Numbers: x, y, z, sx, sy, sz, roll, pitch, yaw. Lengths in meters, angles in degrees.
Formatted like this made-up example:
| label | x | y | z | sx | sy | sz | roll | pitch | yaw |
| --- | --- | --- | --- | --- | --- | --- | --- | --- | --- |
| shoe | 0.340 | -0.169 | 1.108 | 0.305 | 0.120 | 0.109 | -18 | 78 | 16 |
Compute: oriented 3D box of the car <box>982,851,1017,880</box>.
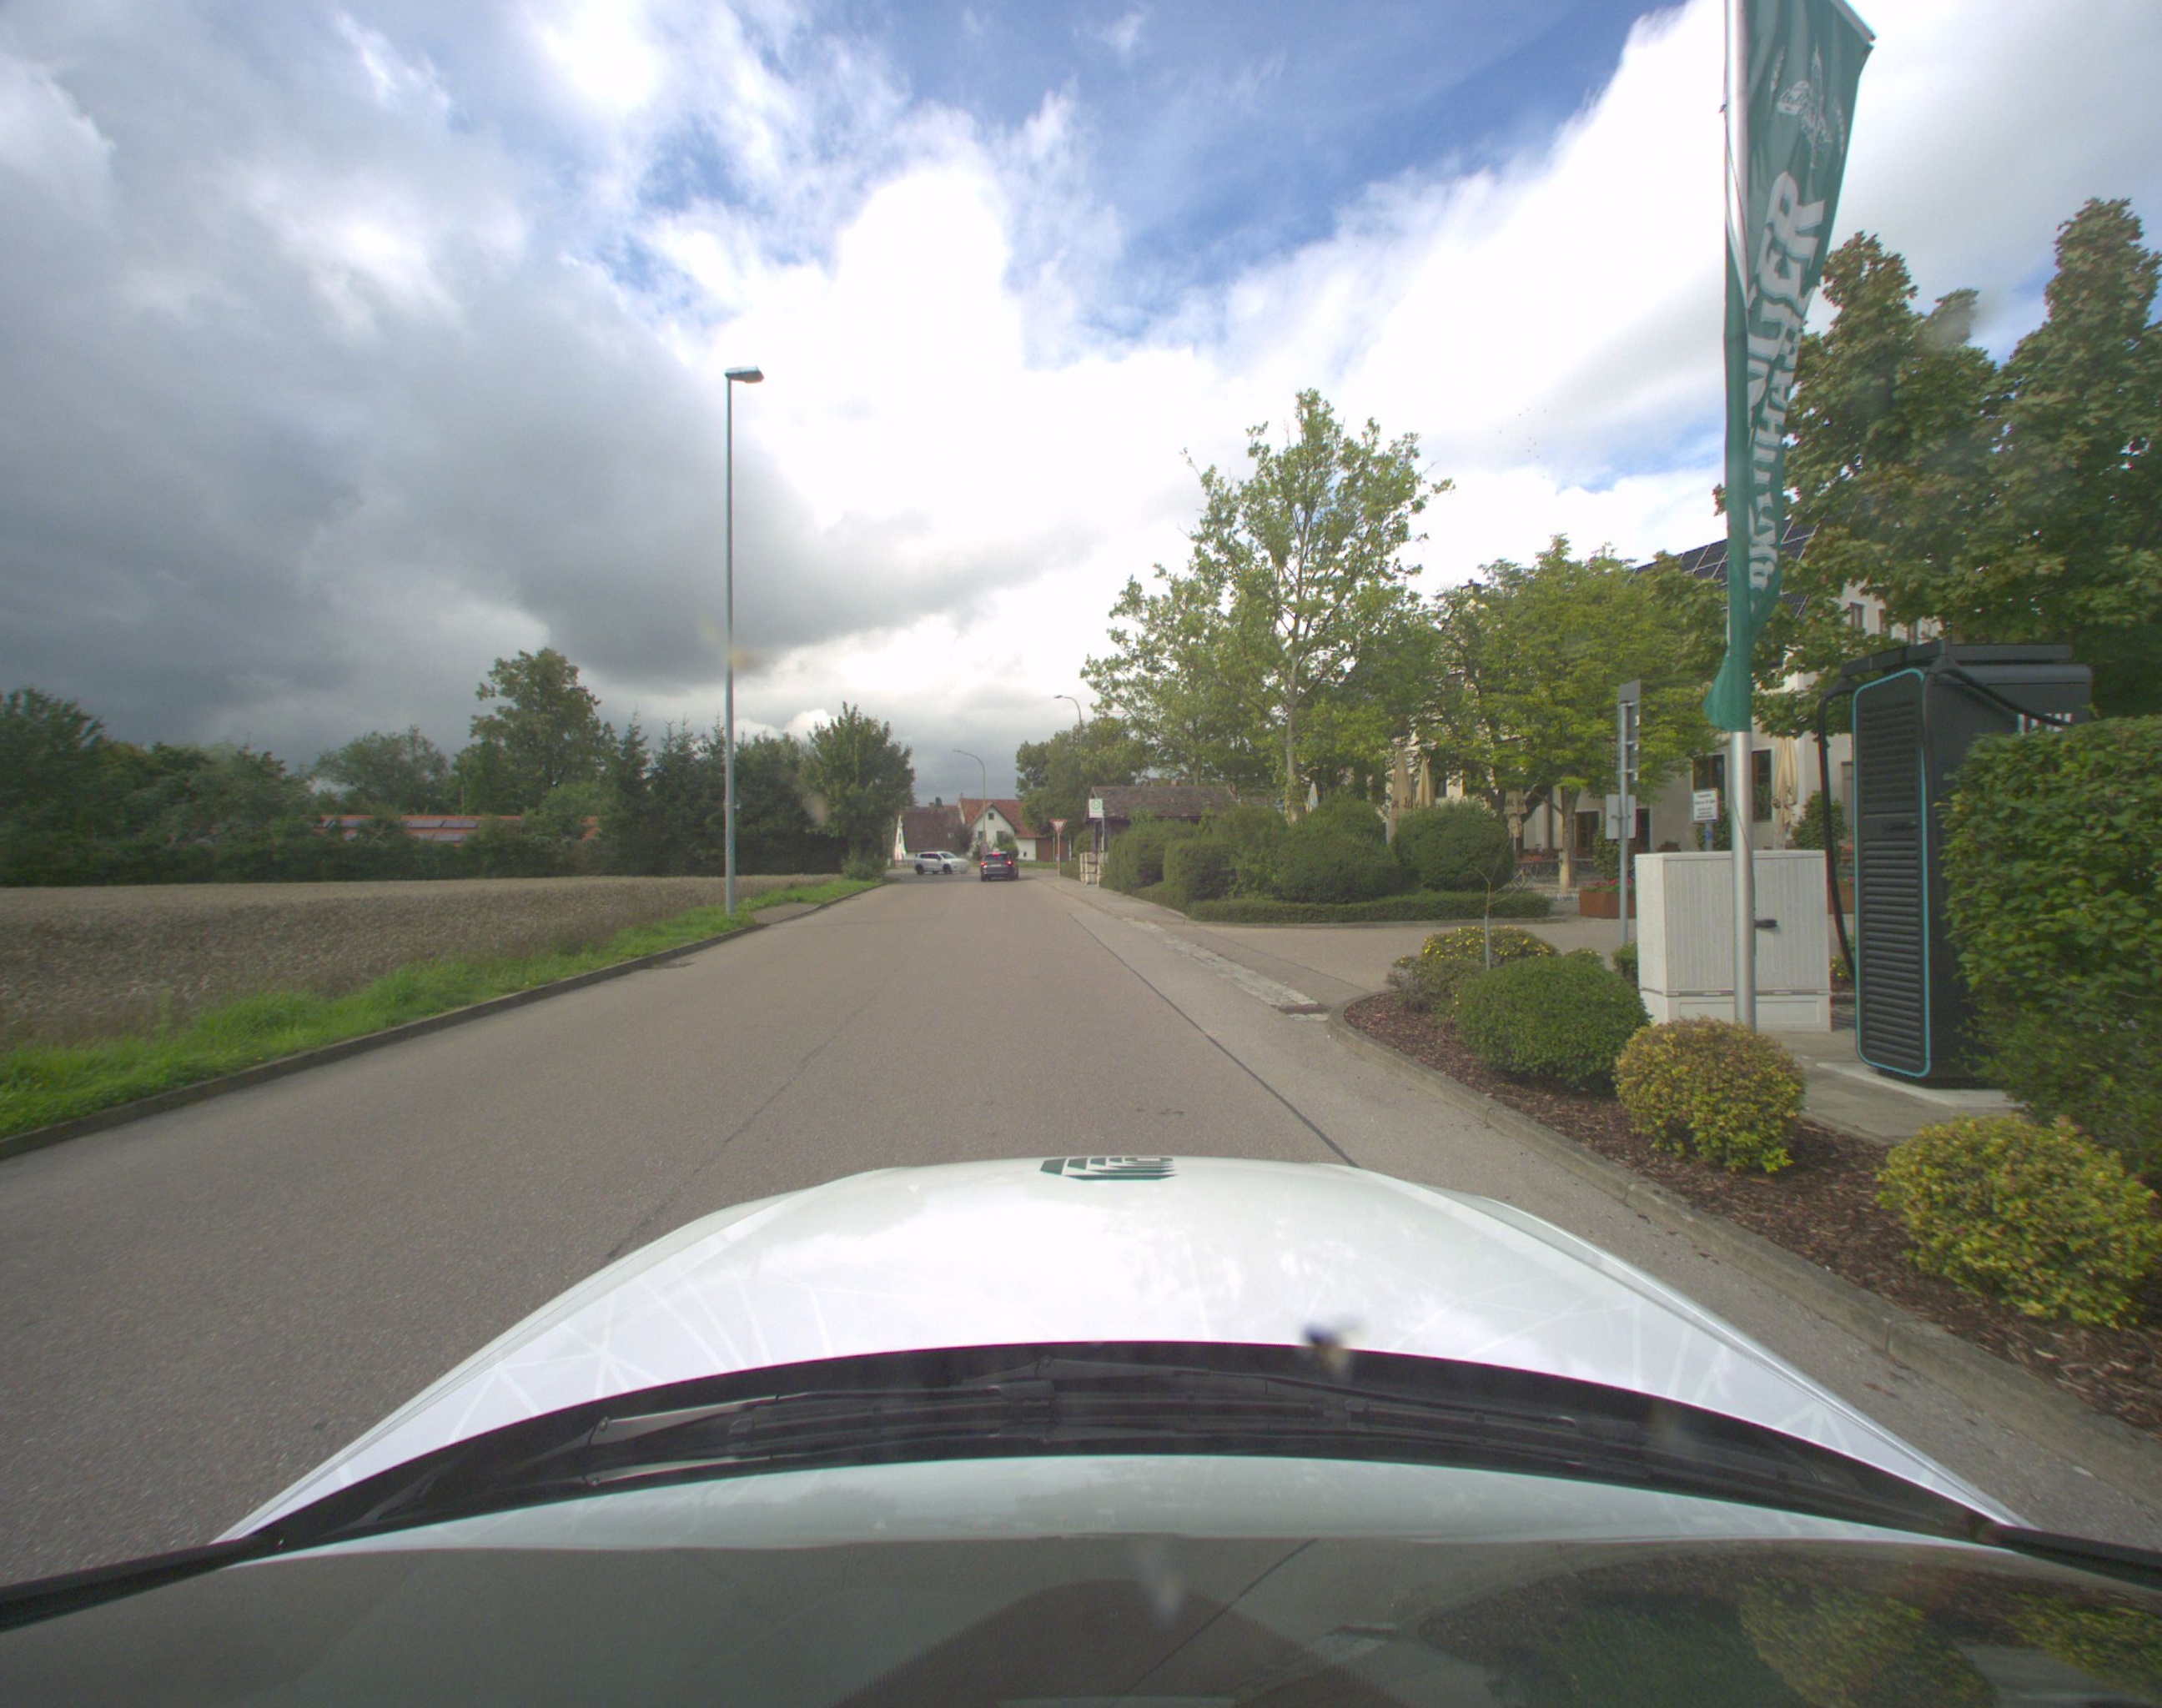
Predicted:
| label | x | y | z | sx | sy | sz | roll | pitch | yaw |
| --- | --- | --- | --- | --- | --- | --- | --- | --- | --- |
| car | -4.433 | 0.610 | 44.344 | 1.796 | 1.462 | 3.655 | -1 | 0 | -6 |

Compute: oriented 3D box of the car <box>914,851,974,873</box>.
| label | x | y | z | sx | sy | sz | roll | pitch | yaw |
| --- | --- | --- | --- | --- | --- | --- | --- | --- | --- |
| car | -9.682 | 0.553 | 57.354 | 3.938 | 1.515 | 1.816 | 0 | 0 | 32 |
